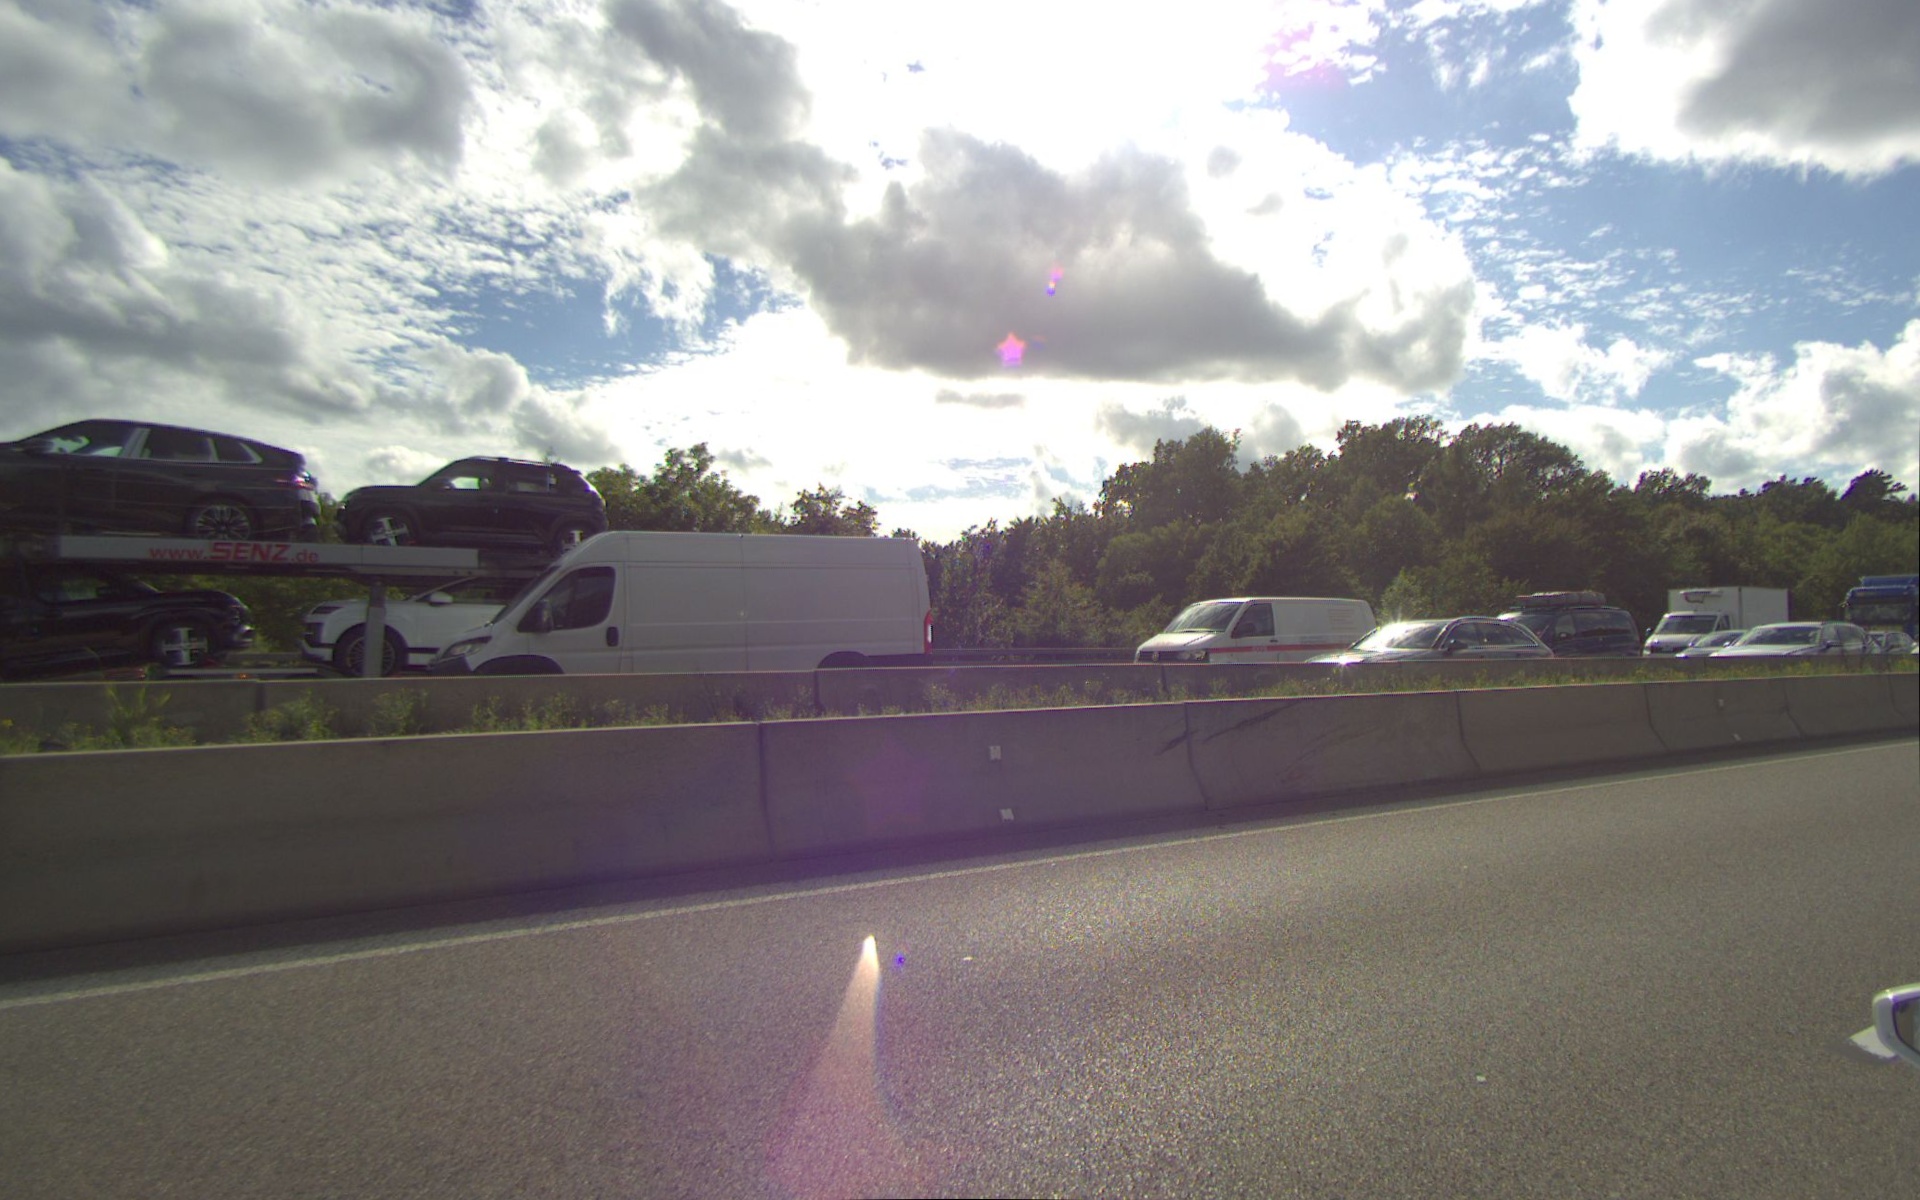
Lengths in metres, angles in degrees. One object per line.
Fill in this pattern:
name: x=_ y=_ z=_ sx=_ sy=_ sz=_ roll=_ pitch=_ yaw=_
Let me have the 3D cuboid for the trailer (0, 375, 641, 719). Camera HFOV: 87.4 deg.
trailer: x=-12.467 y=-0.651 z=12.671 sx=15.819 sy=4.027 sz=2.816 roll=2 pitch=0 yaw=-31

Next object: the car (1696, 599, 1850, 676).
car: x=23.471 y=1.099 z=28.963 sx=4.604 sy=2.040 sz=1.983 roll=3 pitch=-1 yaw=-31

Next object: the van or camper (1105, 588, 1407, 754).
van or camper: x=5.647 y=1.280 z=18.891 sx=5.683 sy=2.747 sz=2.036 roll=3 pitch=-1 yaw=-30

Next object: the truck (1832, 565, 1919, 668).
truck: x=40.930 y=0.772 z=43.857 sx=5.554 sy=4.203 sz=2.722 roll=3 pitch=-1 yaw=-31

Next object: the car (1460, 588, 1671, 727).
car: x=14.545 y=1.287 z=24.048 sx=5.340 sy=3.003 sz=1.983 roll=1 pitch=1 yaw=-31

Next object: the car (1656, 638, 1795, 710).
car: x=21.604 y=2.059 z=28.320 sx=4.247 sy=1.840 sz=1.678 roll=3 pitch=-1 yaw=-31

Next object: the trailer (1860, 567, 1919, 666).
trailer: x=47.188 y=0.975 z=47.708 sx=13.506 sy=4.290 sz=2.757 roll=3 pitch=-1 yaw=-31

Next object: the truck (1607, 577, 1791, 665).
truck: x=26.288 y=0.724 z=35.621 sx=7.857 sy=2.839 sz=2.316 roll=1 pitch=1 yaw=-31

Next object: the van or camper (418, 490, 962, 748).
van or camper: x=-3.421 y=0.328 z=13.354 sx=6.553 sy=2.747 sz=2.380 roll=3 pitch=-1 yaw=-30

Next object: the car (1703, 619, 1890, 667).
car: x=17.878 y=0.900 z=21.424 sx=4.552 sy=0.869 sz=1.627 roll=1 pitch=1 yaw=-31

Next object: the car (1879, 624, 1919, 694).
car: x=26.445 y=1.565 z=26.556 sx=4.245 sy=1.766 sz=1.984 roll=1 pitch=1 yaw=-31

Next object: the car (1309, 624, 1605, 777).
car: x=7.670 y=1.450 z=15.435 sx=4.357 sy=2.040 sz=1.984 roll=3 pitch=-2 yaw=-30
